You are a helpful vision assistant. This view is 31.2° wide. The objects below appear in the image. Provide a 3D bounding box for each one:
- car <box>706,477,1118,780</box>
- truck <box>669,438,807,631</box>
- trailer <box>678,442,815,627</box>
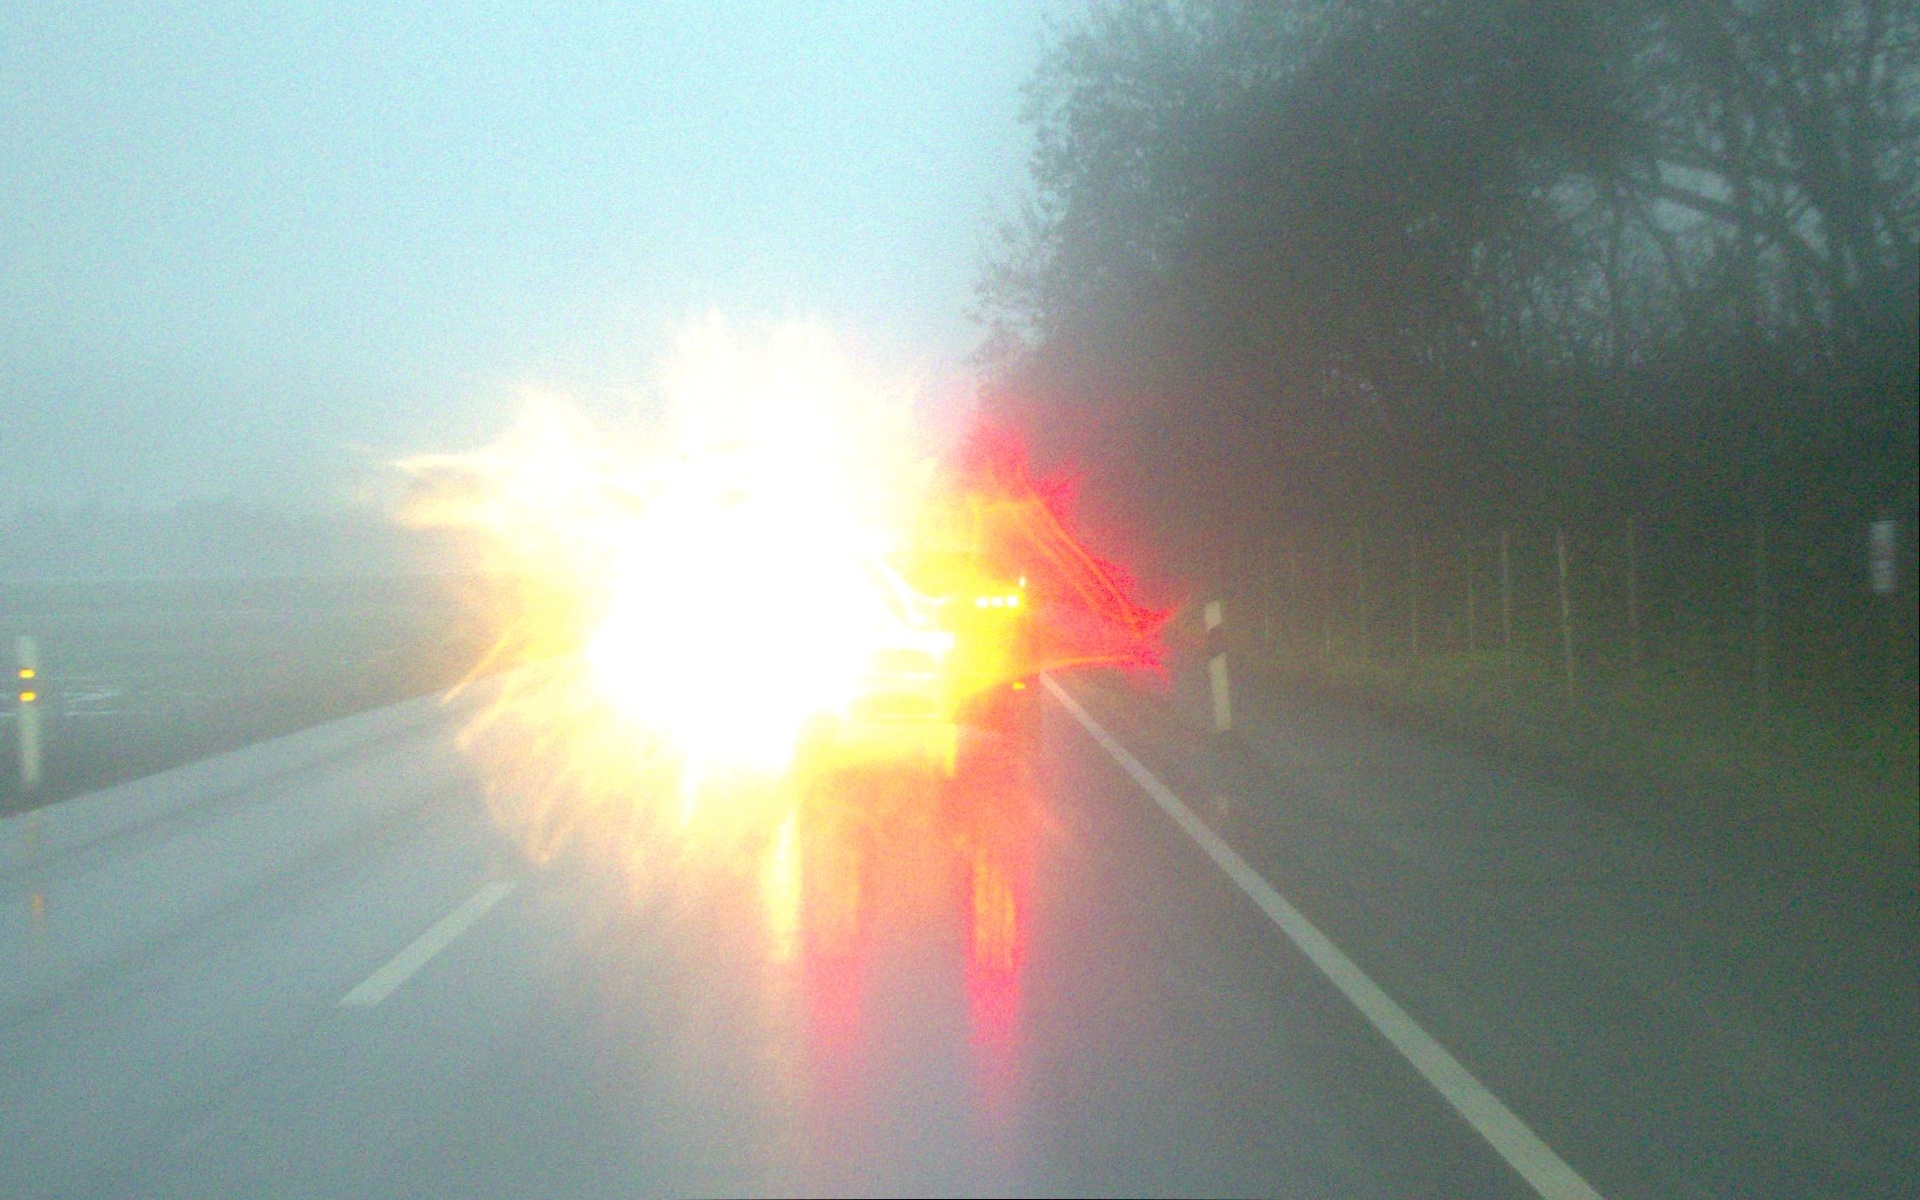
[{"bbox_3d":[-0.342,0.166,26.581,2.820,2.070,5.804,0,1,0],"label":"car"},{"bbox_3d":[-4.940,-1.471,77.583,2.725,4.091,6.589,-1,1,-1],"label":"truck"},{"bbox_3d":[-5.050,-1.576,83.300,2.701,4.066,12.382,-1,1,-1],"label":"trailer"}]
